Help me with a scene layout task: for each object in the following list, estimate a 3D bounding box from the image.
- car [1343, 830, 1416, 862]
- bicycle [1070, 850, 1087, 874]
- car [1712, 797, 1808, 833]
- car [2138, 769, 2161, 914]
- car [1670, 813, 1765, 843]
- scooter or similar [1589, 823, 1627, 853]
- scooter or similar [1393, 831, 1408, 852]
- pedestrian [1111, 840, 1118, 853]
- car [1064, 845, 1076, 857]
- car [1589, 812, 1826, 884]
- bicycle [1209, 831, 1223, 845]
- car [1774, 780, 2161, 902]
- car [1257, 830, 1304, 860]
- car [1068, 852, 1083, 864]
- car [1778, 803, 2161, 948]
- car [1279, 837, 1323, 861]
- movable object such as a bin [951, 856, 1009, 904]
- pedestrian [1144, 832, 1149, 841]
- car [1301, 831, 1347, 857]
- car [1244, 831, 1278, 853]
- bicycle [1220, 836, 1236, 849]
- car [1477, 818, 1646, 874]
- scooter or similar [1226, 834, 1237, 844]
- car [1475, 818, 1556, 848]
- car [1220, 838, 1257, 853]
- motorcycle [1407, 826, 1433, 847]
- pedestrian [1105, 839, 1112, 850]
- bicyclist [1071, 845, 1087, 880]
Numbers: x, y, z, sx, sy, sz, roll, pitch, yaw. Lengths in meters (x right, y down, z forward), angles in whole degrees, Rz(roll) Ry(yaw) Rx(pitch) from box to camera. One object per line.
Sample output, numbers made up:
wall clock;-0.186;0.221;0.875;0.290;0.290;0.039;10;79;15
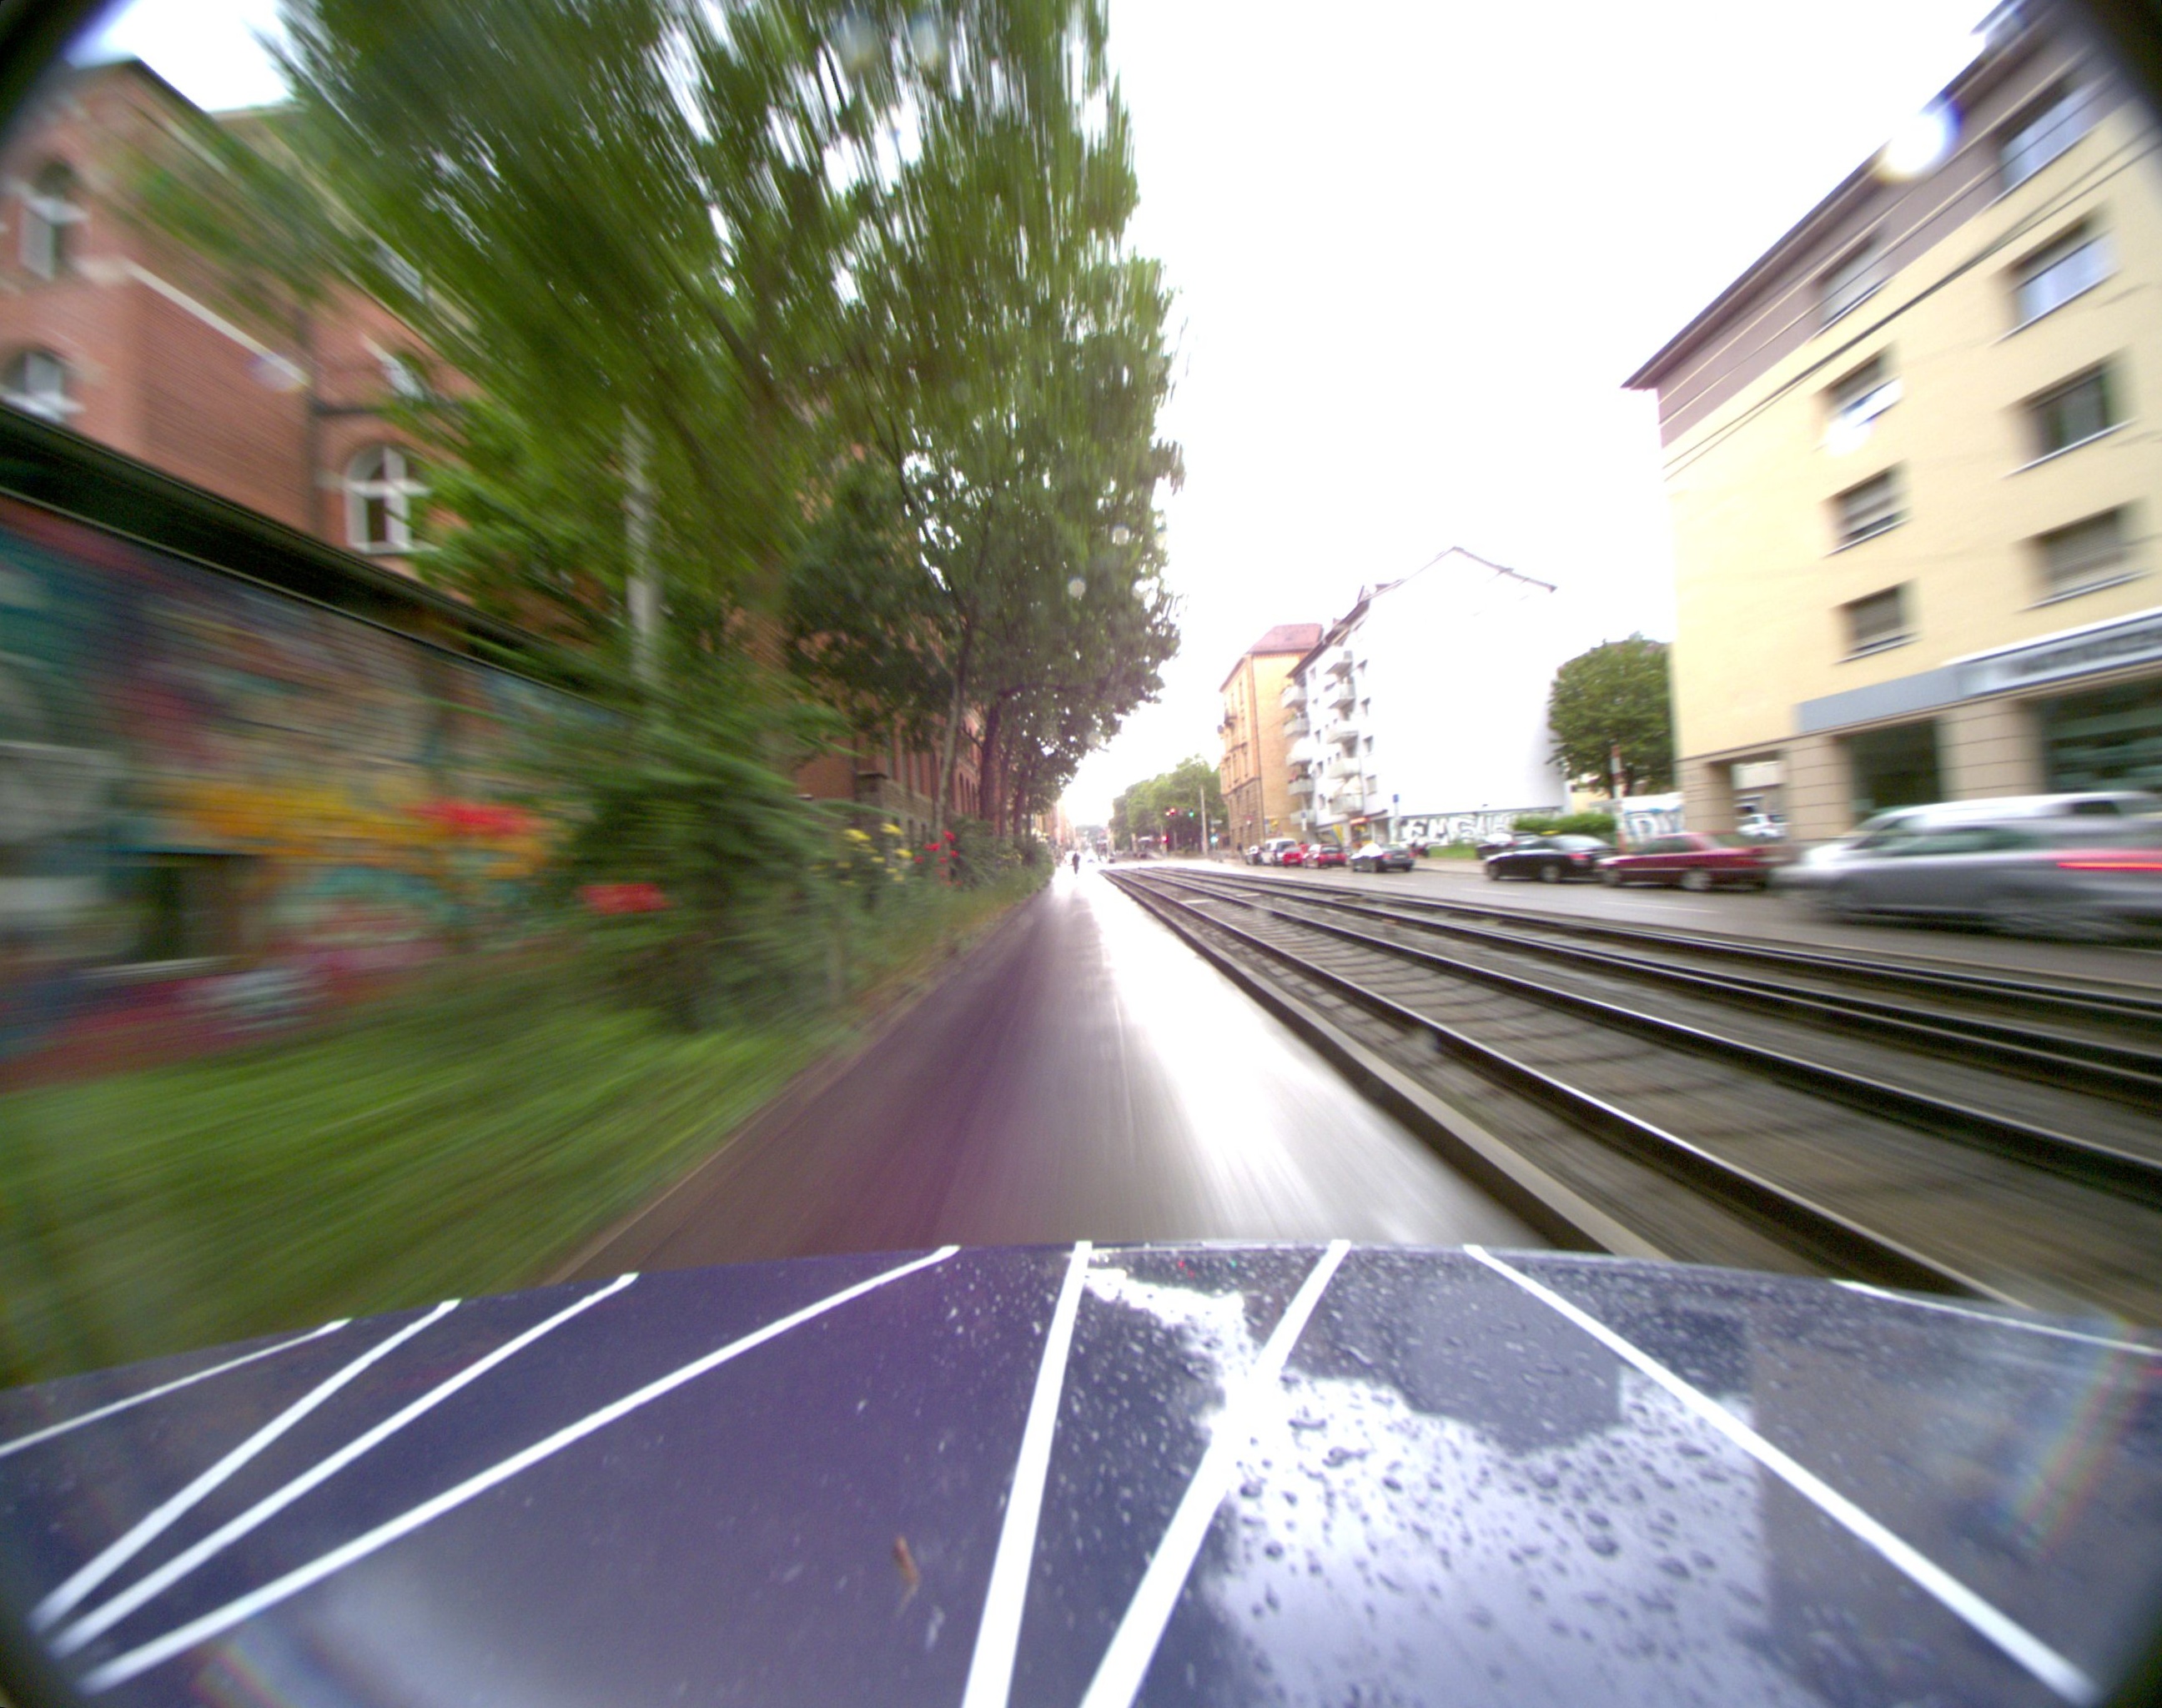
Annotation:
car;14.684;-0.431;37.632;1.684;1.388;4.621;-3;1;-1
bicycle;-0.134;0.525;51.440;0.936;1.546;3.135;-3;1;2
car;34.827;-1.992;39.109;1.671;1.624;3.903;-4;2;5
car;15.016;-0.190;7.330;1.998;1.894;5.458;-4;1;0
car;32.415;-1.297;38.834;1.672;1.392;3.904;-3;1;3
scooter or similar;21.186;-0.649;30.547;1.295;1.106;0.379;-4;1;-6
scooter or similar;19.651;-0.778;46.768;0.623;1.193;1.896;-5;0;20
pedestrian;5.001;-1.103;113.168;0.827;1.788;1.001;-3;2;-2
car;-1.916;-0.587;135.018;1.825;1.894;5.990;-4;1;2
car;15.163;-0.176;18.837;1.856;1.424;4.830;-5;1;1
bicycle;20.515;-2.395;115.791;1.896;2.002;0.518;-4;2;-6
car;15.135;-0.242;13.364;1.871;1.707;4.459;-3;1;2
car;15.132;-0.678;57.972;2.075;1.997;5.301;-6;1;0
car;-0.728;0.519;104.276;1.884;1.439;3.999;-4;1;0
car;11.756;0.154;9.747;1.716;1.454;4.280;-3;1;1
car;15.444;-0.378;53.227;1.781;1.426;3.989;-3;1;34
movable object such as a bin;-3.143;0.799;23.834;1.402;1.444;1.218;-1;0;16
pedestrian;14.050;-3.732;161.950;0.837;2.051;0.884;-3;2;-3
car;14.972;-0.630;47.030;1.657;1.443;4.073;-3;1;2
car;14.979;-0.990;63.448;1.737;1.641;4.362;-4;1;0
bicycle;21.797;-1.697;112.745;2.096;1.689;0.556;-4;5;-6
car;15.048;-0.263;24.204;1.857;1.499;4.988;-3;1;-5
scooter or similar;21.936;-2.140;110.755;1.507;1.363;0.452;-4;2;-16
car;21.594;-1.031;37.956;1.874;1.296;4.479;-3;0;7
car;18.362;-0.952;88.609;3.797;1.529;1.776;-3;2;-7
motorcycle;20.480;-1.058;45.867;0.641;1.194;1.783;-7;3;-1
pedestrian;4.078;-1.479;113.417;0.837;1.595;1.001;-3;2;-2
bicyclist;-0.151;0.566;51.643;0.920;2.250;1.287;-3;2;2
